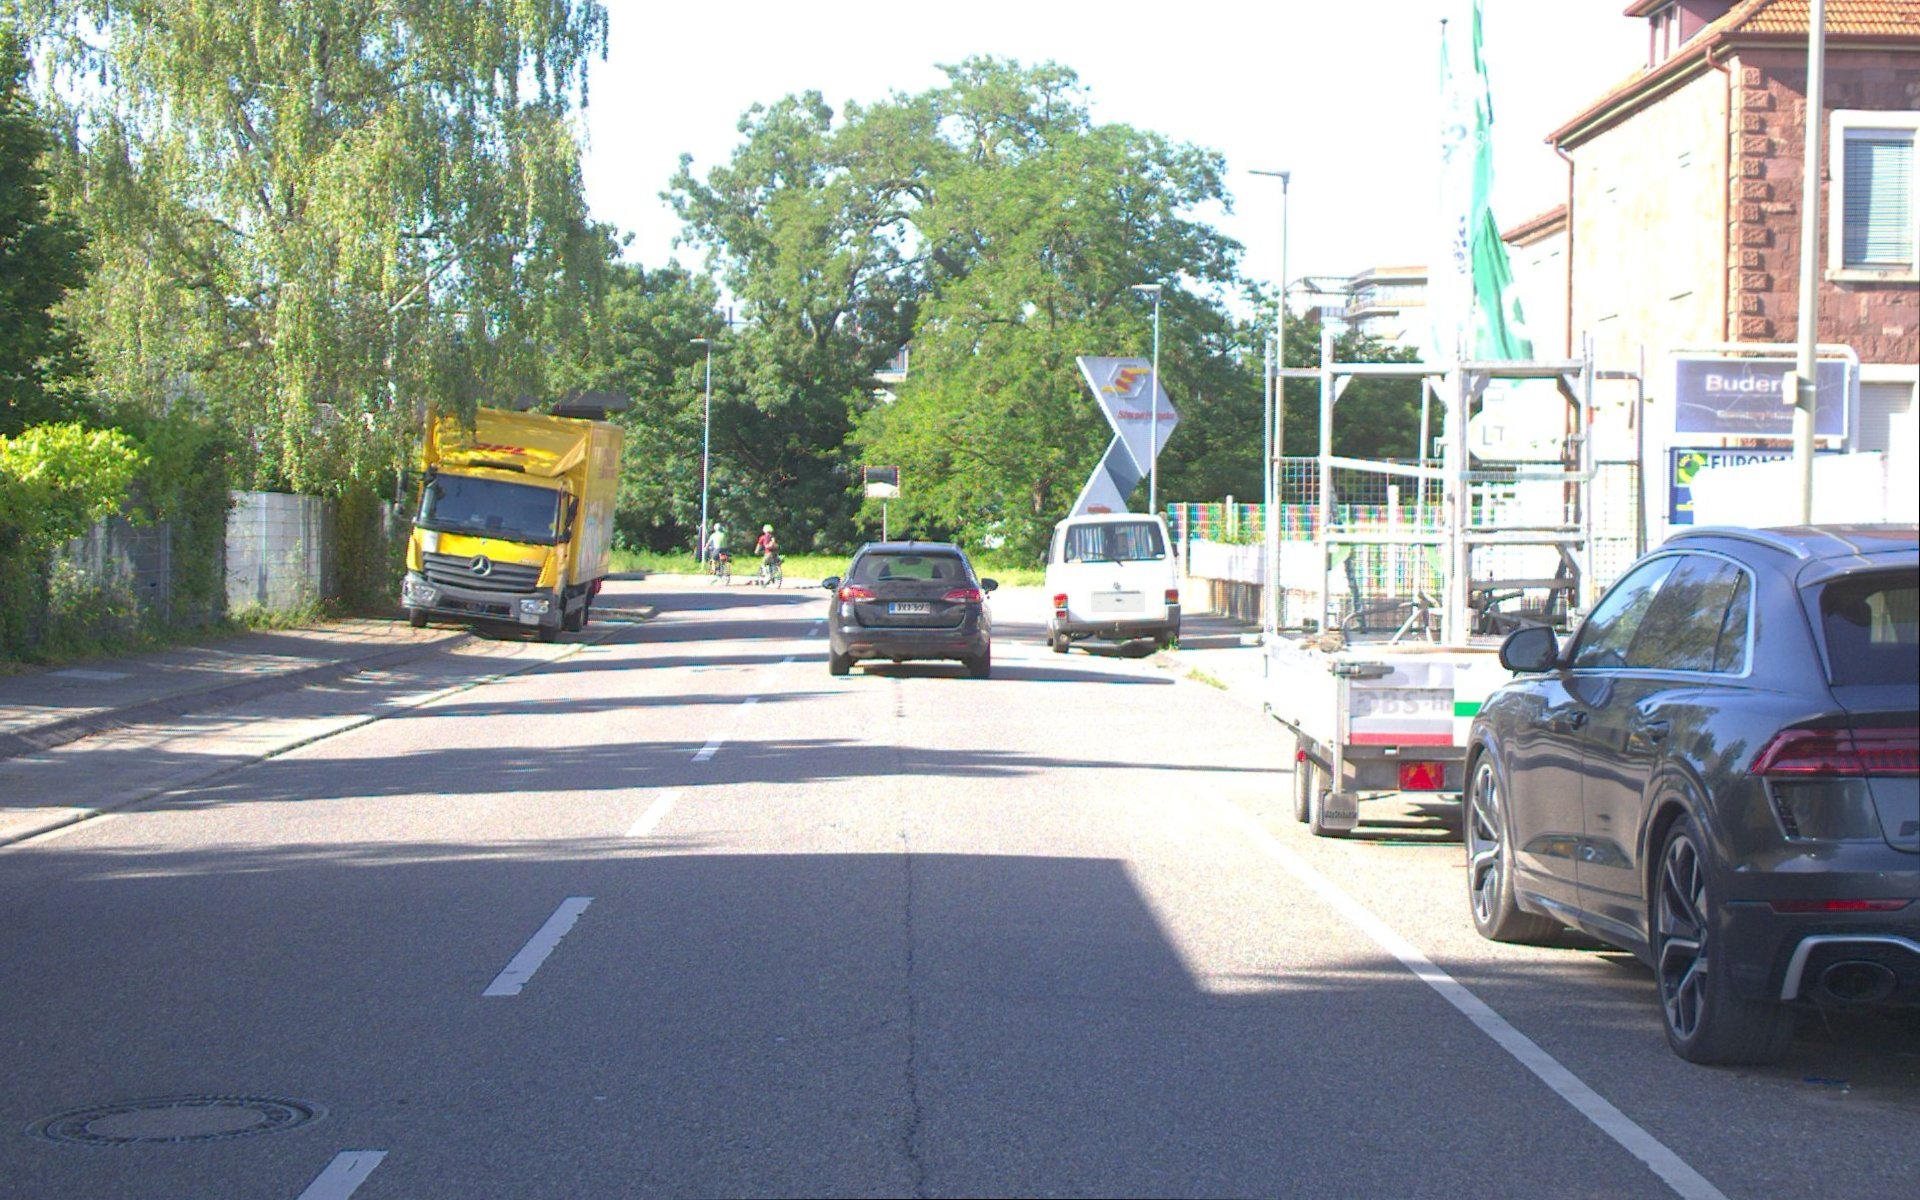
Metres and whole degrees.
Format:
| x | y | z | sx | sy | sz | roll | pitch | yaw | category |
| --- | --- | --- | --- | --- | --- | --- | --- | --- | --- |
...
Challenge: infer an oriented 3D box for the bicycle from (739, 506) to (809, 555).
| x | y | z | sx | sy | sz | roll | pitch | yaw | category |
| --- | --- | --- | --- | --- | --- | --- | --- | --- | --- |
| -5.119 | -1.906 | 94.387 | 0.803 | 1.263 | 2.258 | 2 | 1 | -35 | bicycle |

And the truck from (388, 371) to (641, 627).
| x | y | z | sx | sy | sz | roll | pitch | yaw | category |
| --- | --- | --- | --- | --- | --- | --- | --- | --- | --- |
| -6.998 | -1.669 | 55.177 | 2.631 | 3.493 | 8.658 | 7 | 2 | -1 | truck |

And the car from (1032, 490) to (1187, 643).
| x | y | z | sx | sy | sz | roll | pitch | yaw | category |
| --- | --- | --- | --- | --- | --- | --- | --- | --- | --- |
| 2.085 | -0.490 | 49.154 | 1.874 | 2.007 | 5.161 | 2 | 1 | 0 | car |

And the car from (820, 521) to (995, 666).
| x | y | z | sx | sy | sz | roll | pitch | yaw | category |
| --- | --- | --- | --- | --- | --- | --- | --- | --- | --- |
| -0.558 | -0.116 | 38.448 | 1.847 | 1.525 | 4.000 | 0 | 1 | 0 | car |

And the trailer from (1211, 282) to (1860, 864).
| x | y | z | sx | sy | sz | roll | pitch | yaw | category |
| --- | --- | --- | --- | --- | --- | --- | --- | --- | --- |
| 2.877 | -0.177 | 18.783 | 2.460 | 2.663 | 5.702 | 1 | 1 | -1 | trailer |

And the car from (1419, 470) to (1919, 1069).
| x | y | z | sx | sy | sz | roll | pitch | yaw | category |
| --- | --- | --- | --- | --- | --- | --- | --- | --- | --- |
| 2.989 | 0.471 | 12.064 | 1.994 | 1.661 | 4.732 | 2 | 1 | -1 | car |

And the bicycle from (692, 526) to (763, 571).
| x | y | z | sx | sy | sz | roll | pitch | yaw | category |
| --- | --- | --- | --- | --- | --- | --- | --- | --- | --- |
| -6.611 | -1.465 | 97.668 | 0.804 | 1.217 | 2.258 | 2 | 1 | -40 | bicycle |
